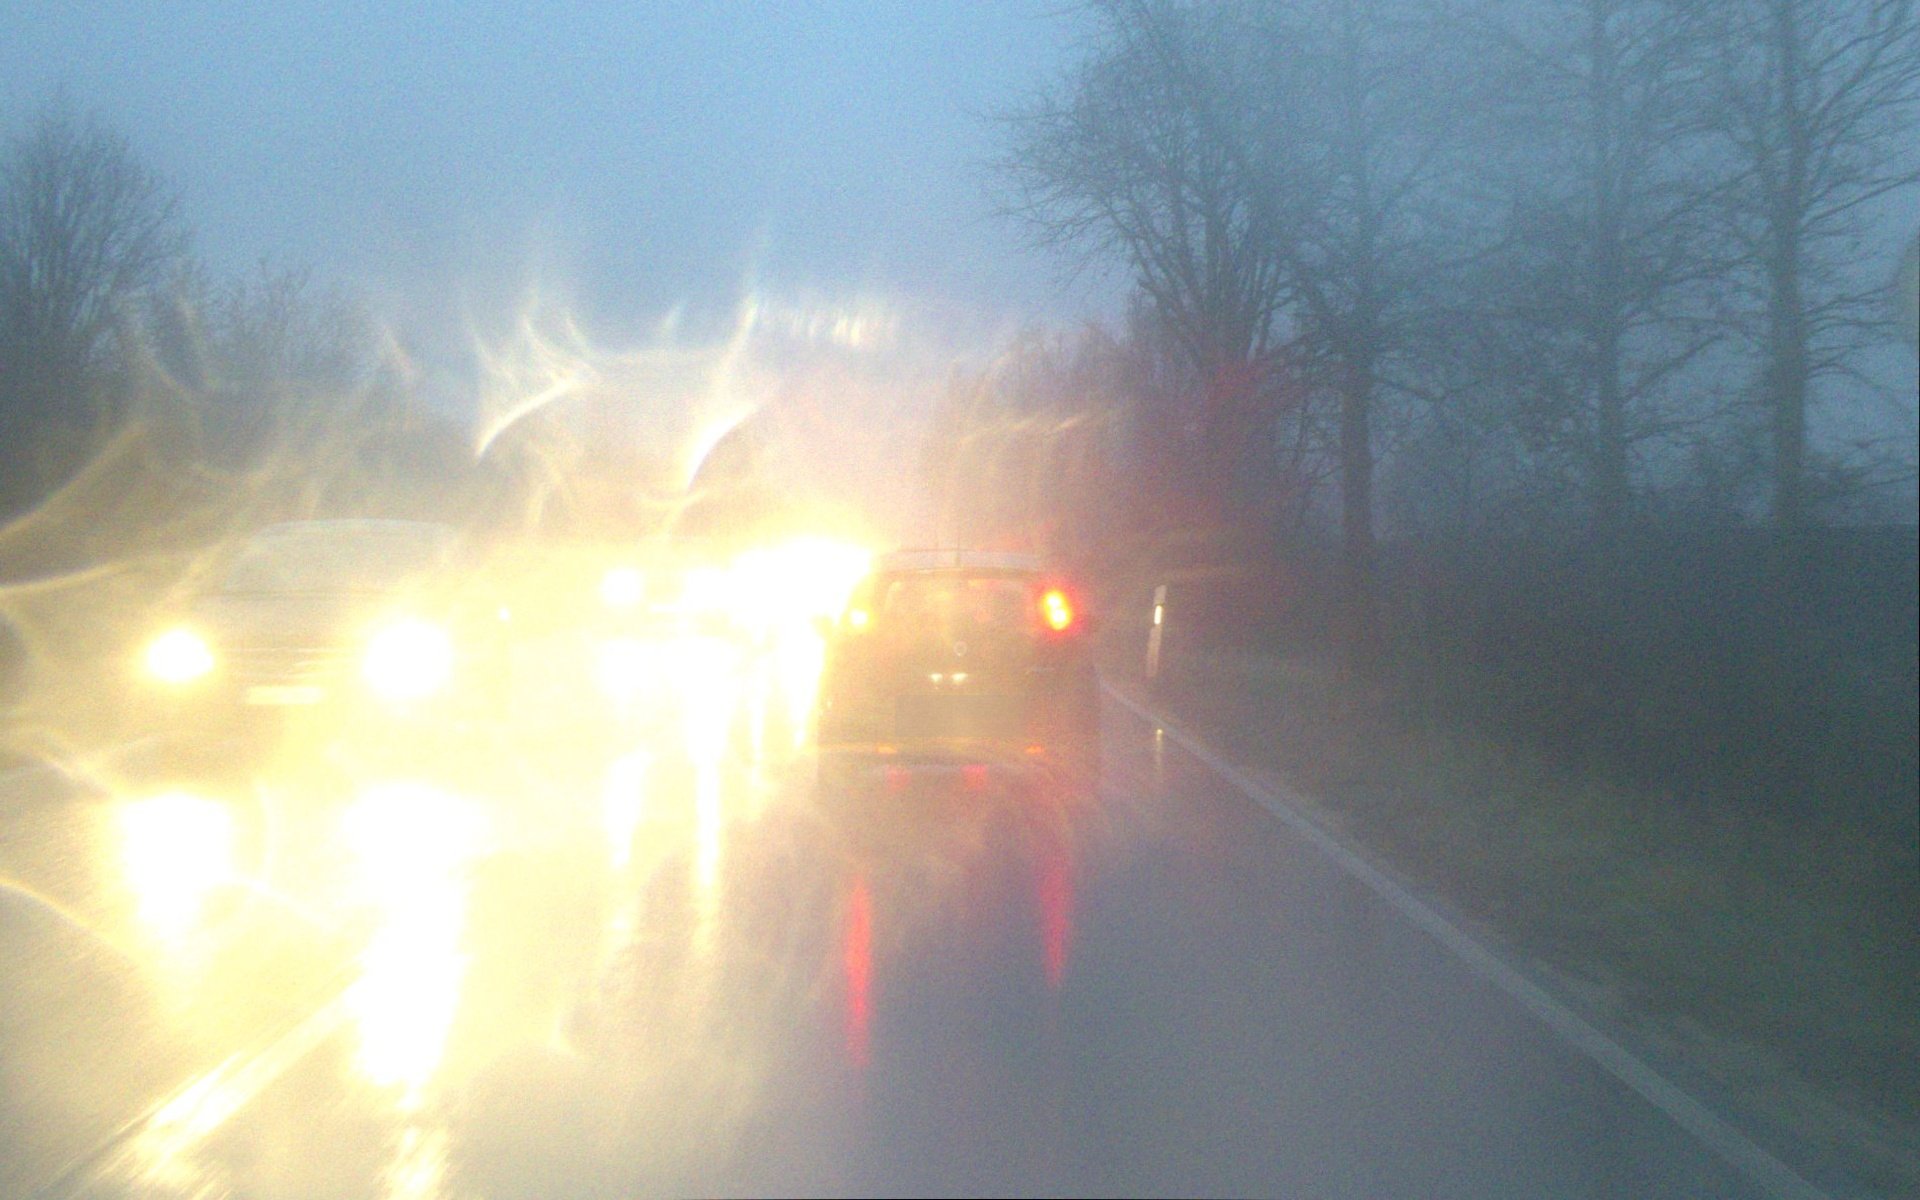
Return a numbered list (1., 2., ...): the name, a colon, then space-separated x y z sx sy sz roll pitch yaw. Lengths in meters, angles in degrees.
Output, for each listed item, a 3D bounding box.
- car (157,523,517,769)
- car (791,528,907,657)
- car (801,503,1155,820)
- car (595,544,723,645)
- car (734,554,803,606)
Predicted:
1. car: -4.351 0.266 24.680 1.779 1.590 4.693 0 1 -1
2. car: -1.658 -0.133 52.206 1.574 1.868 3.709 1 1 1
3. car: 0.120 0.325 21.657 1.993 1.778 4.000 1 1 1
4. car: -5.090 -0.115 58.627 1.922 1.648 4.105 0 1 -2
5. car: -5.499 -0.598 99.126 1.817 1.436 3.456 1 1 -1
